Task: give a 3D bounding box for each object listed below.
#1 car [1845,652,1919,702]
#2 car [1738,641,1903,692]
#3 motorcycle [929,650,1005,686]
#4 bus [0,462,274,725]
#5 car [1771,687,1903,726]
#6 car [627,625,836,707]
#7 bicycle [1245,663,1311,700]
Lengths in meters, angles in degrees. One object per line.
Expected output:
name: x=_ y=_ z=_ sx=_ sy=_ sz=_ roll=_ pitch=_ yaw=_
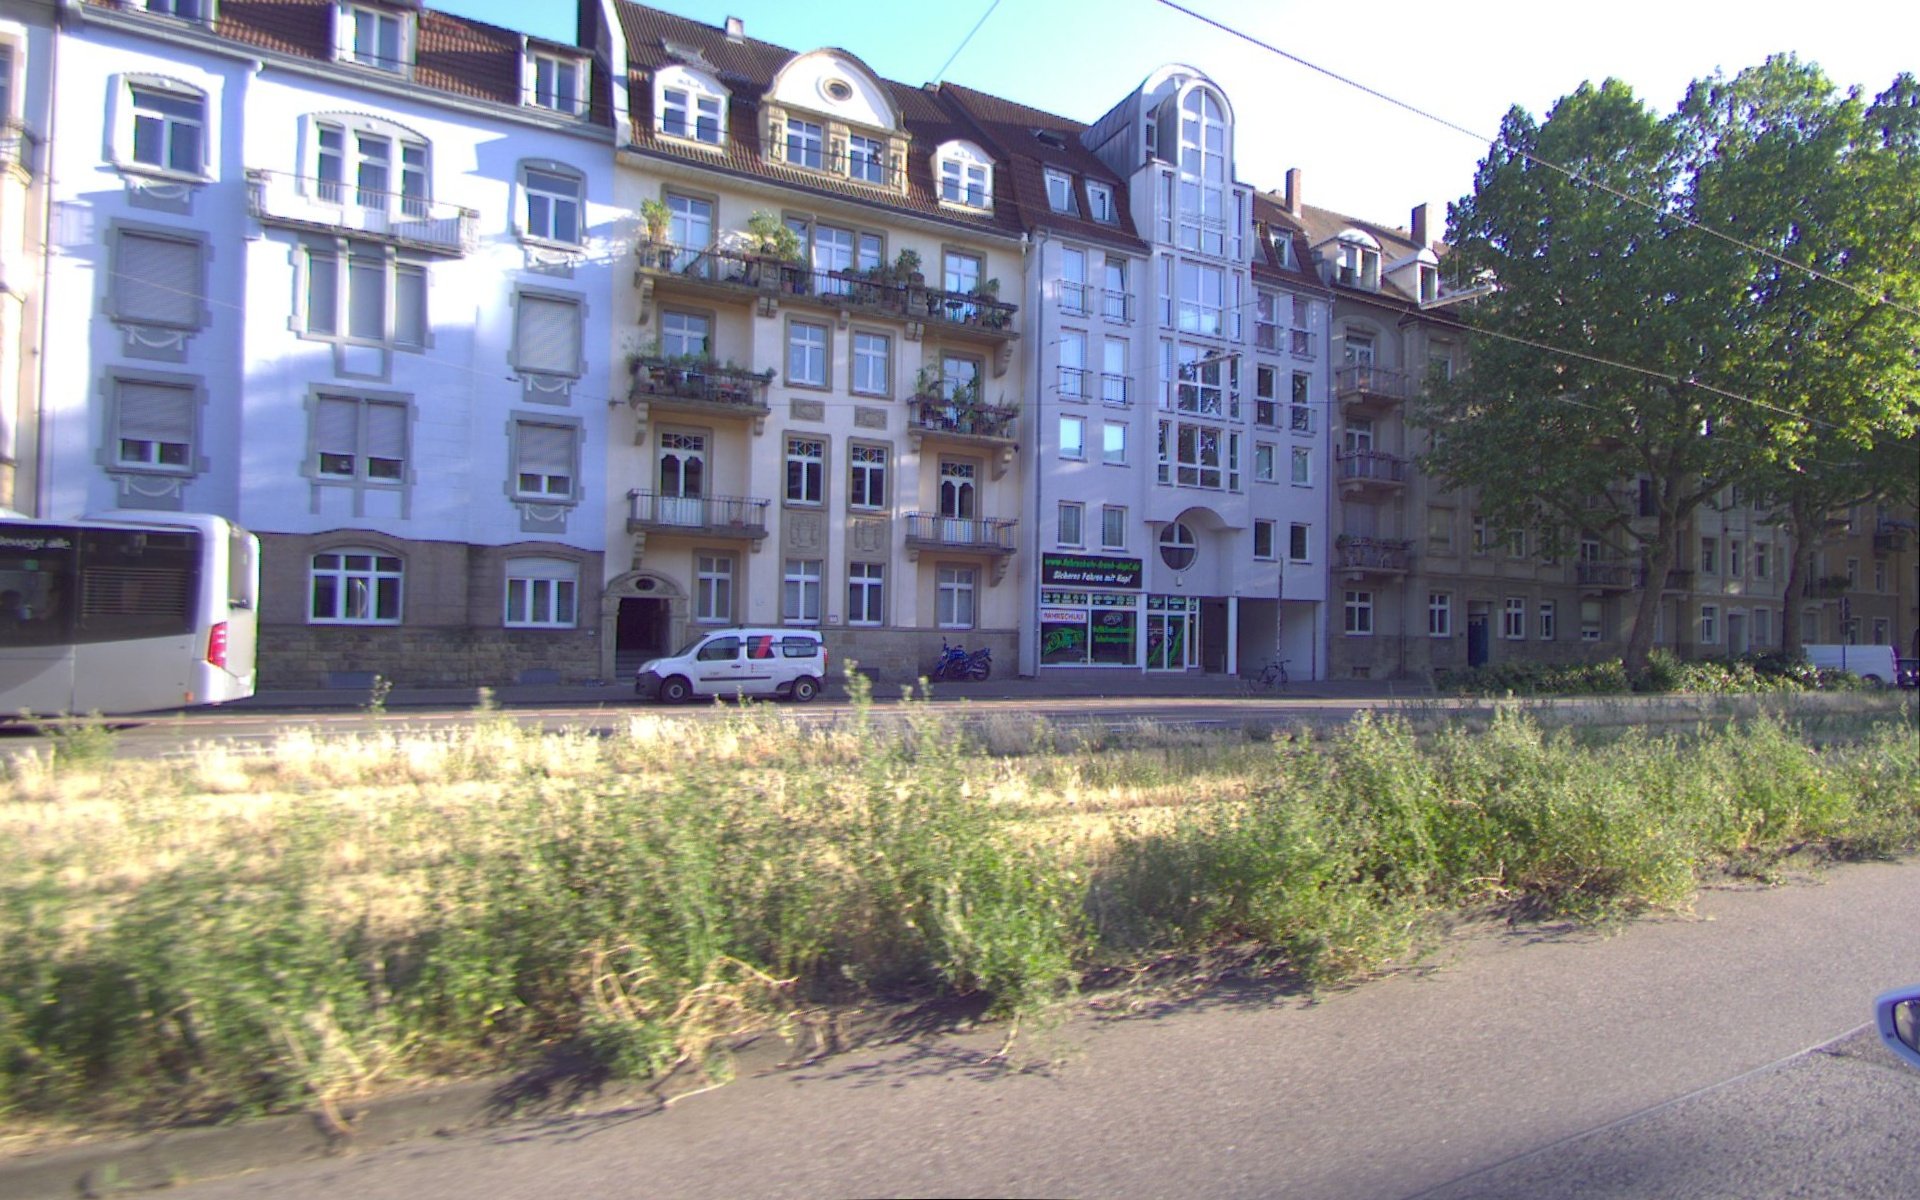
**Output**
car: x=30.819 y=2.487 z=32.472 sx=4.639 sy=1.505 sz=1.710 roll=2 pitch=-5 yaw=-27
car: x=37.445 y=2.864 z=43.882 sx=5.144 sy=2.093 sz=1.722 roll=0 pitch=-2 yaw=22
motorcycle: x=0.240 y=2.116 z=31.309 sx=2.389 sy=1.034 sz=0.526 roll=2 pitch=0 yaw=-28
bus: x=-16.302 y=-0.207 z=12.947 sx=11.825 sy=3.418 sz=3.243 roll=3 pitch=-3 yaw=-27
car: x=39.279 y=4.744 z=45.106 sx=4.095 sy=1.510 sz=1.722 roll=0 pitch=-2 yaw=22
car: x=-5.483 y=1.599 z=24.190 sx=4.591 sy=1.810 sz=1.899 roll=3 pitch=-3 yaw=-25
bicycle: x=10.316 y=2.633 z=32.566 sx=1.862 sy=1.047 sz=0.757 roll=2 pitch=3 yaw=-13
